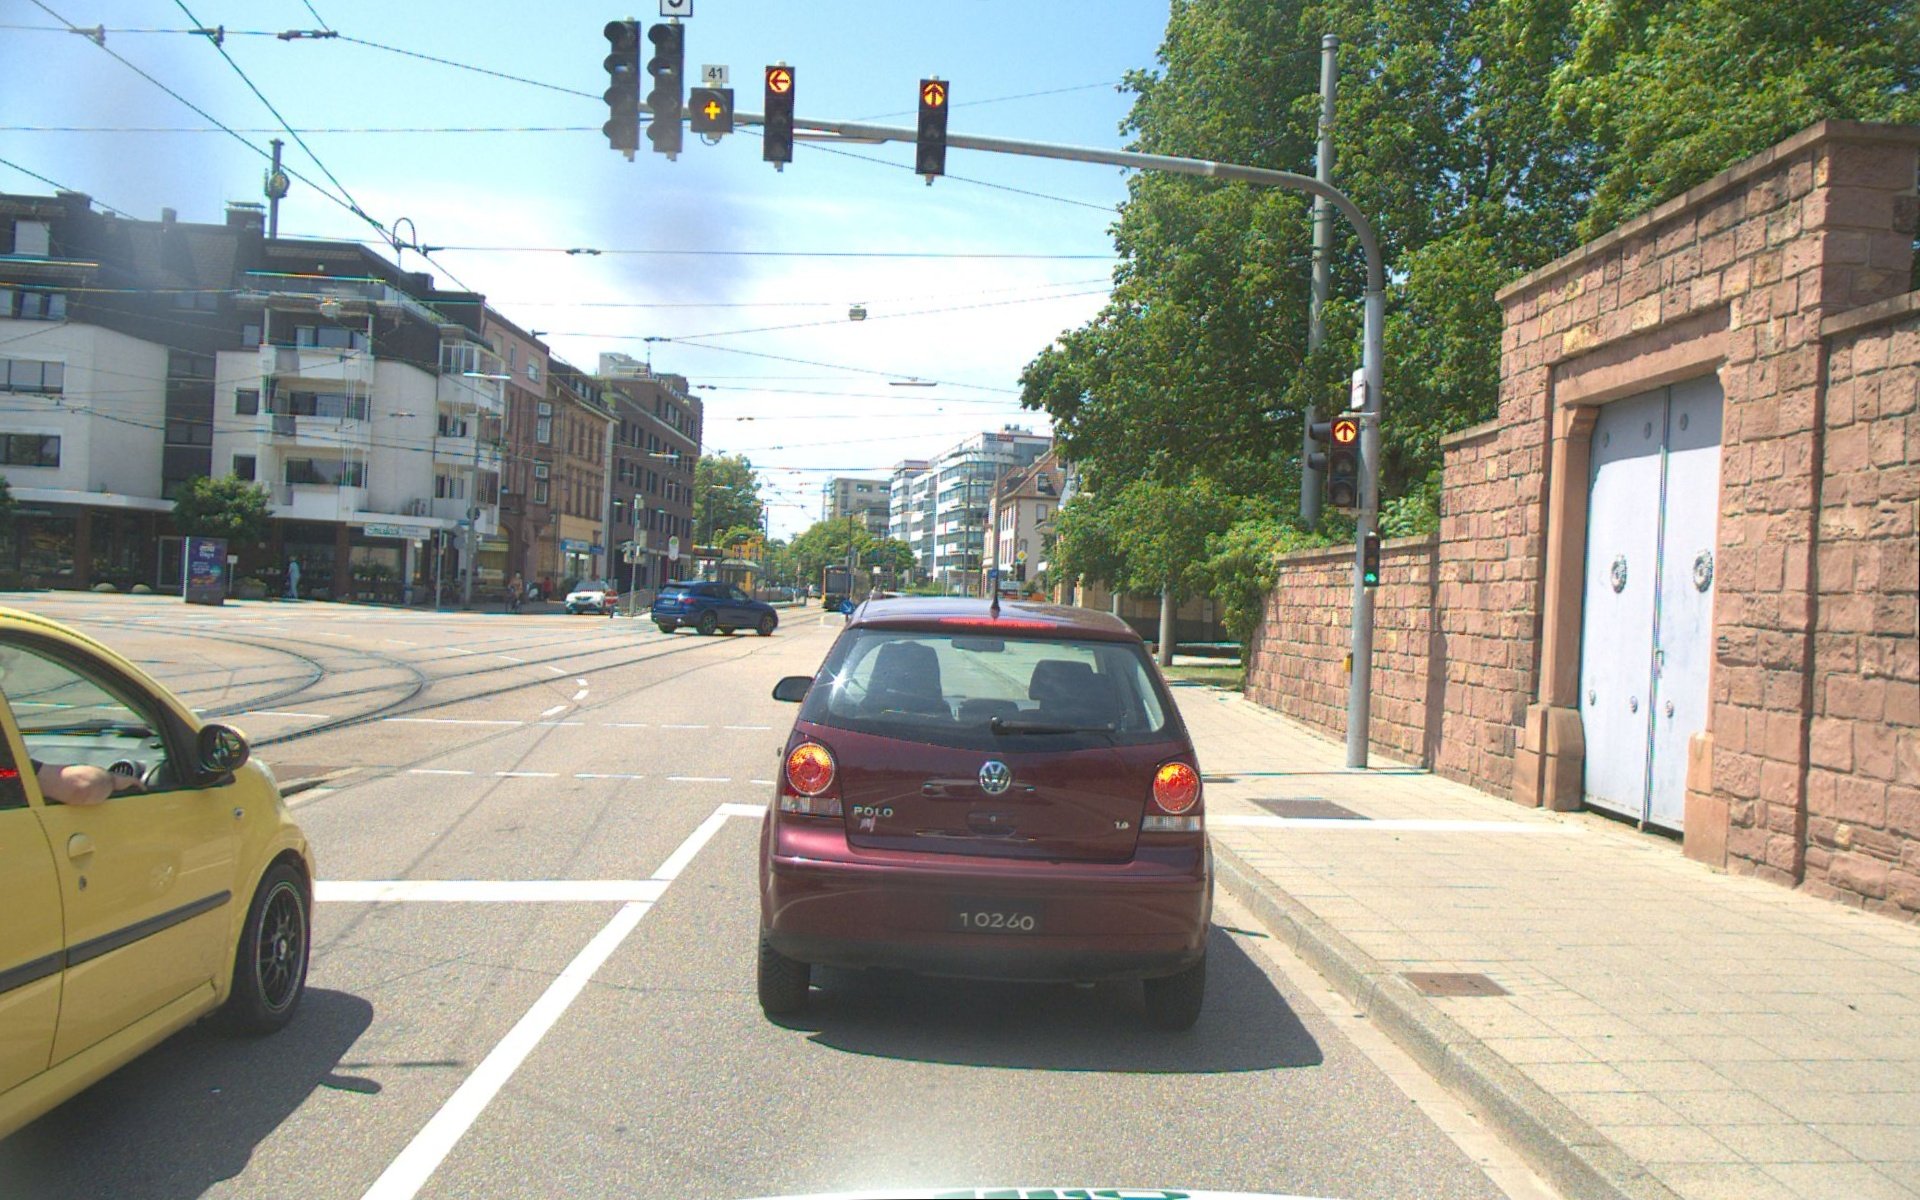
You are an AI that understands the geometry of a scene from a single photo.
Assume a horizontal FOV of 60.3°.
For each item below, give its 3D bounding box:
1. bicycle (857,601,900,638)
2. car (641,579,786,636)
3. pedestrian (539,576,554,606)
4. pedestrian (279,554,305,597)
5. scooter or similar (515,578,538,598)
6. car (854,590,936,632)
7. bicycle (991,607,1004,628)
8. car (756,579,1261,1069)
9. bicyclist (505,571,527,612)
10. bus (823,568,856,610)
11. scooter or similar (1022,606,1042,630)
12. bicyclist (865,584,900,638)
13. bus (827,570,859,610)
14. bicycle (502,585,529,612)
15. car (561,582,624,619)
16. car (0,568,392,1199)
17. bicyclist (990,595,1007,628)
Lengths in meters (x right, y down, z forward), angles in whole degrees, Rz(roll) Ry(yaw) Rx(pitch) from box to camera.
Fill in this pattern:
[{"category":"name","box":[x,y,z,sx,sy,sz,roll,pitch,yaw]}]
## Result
[{"category":"bicycle","box":[-2.726,0.657,55.486,0.369,1.218,1.900,2,0,32]},{"category":"car","box":[-7.779,0.255,52.661,1.959,1.653,4.617,2,0,34]},{"category":"pedestrian","box":[-21.932,-0.492,87.730,0.602,1.588,0.640,2,0,-2]},{"category":"pedestrian","box":[-27.556,-1.002,68.251,0.790,1.726,0.700,2,0,-10]},{"category":"scooter or similar","box":[-23.961,-0.660,91.446,0.477,1.101,1.578,2,0,15]},{"category":"car","box":[-2.563,0.446,66.216,1.786,1.556,4.000,2,0,21]},{"category":"bicycle","box":[1.949,0.910,85.475,0.654,1.020,1.864,-1,2,1]},{"category":"car","box":[0.108,0.701,6.713,1.530,1.479,3.060,2,0,-2]},{"category":"bicyclist","box":[-20.054,-0.386,74.687,0.680,1.796,1.137,2,1,-2]},{"category":"bus","box":[-9.164,-0.842,126.124,2.102,3.055,6.571,2,0,-2]},{"category":"scooter or similar","box":[3.673,0.916,84.041,0.335,1.198,1.456,2,0,-25]},{"category":"bicyclist","box":[-2.603,0.370,55.710,0.714,1.791,0.921,2,0,32]},{"category":"bus","box":[-9.345,-0.820,132.656,2.188,3.055,6.592,2,0,-2]},{"category":"bicycle","box":[-20.056,-0.085,74.642,0.680,1.169,1.931,2,1,-2]},{"category":"car","box":[-16.913,0.022,76.237,1.953,1.580,4.138,2,0,-1]},{"category":"car","box":[-2.883,0.656,4.400,1.583,1.446,3.654,0,0,-2]},{"category":"bicyclist","box":[1.981,0.587,85.517,0.815,1.646,0.860,-1,1,1]}]
